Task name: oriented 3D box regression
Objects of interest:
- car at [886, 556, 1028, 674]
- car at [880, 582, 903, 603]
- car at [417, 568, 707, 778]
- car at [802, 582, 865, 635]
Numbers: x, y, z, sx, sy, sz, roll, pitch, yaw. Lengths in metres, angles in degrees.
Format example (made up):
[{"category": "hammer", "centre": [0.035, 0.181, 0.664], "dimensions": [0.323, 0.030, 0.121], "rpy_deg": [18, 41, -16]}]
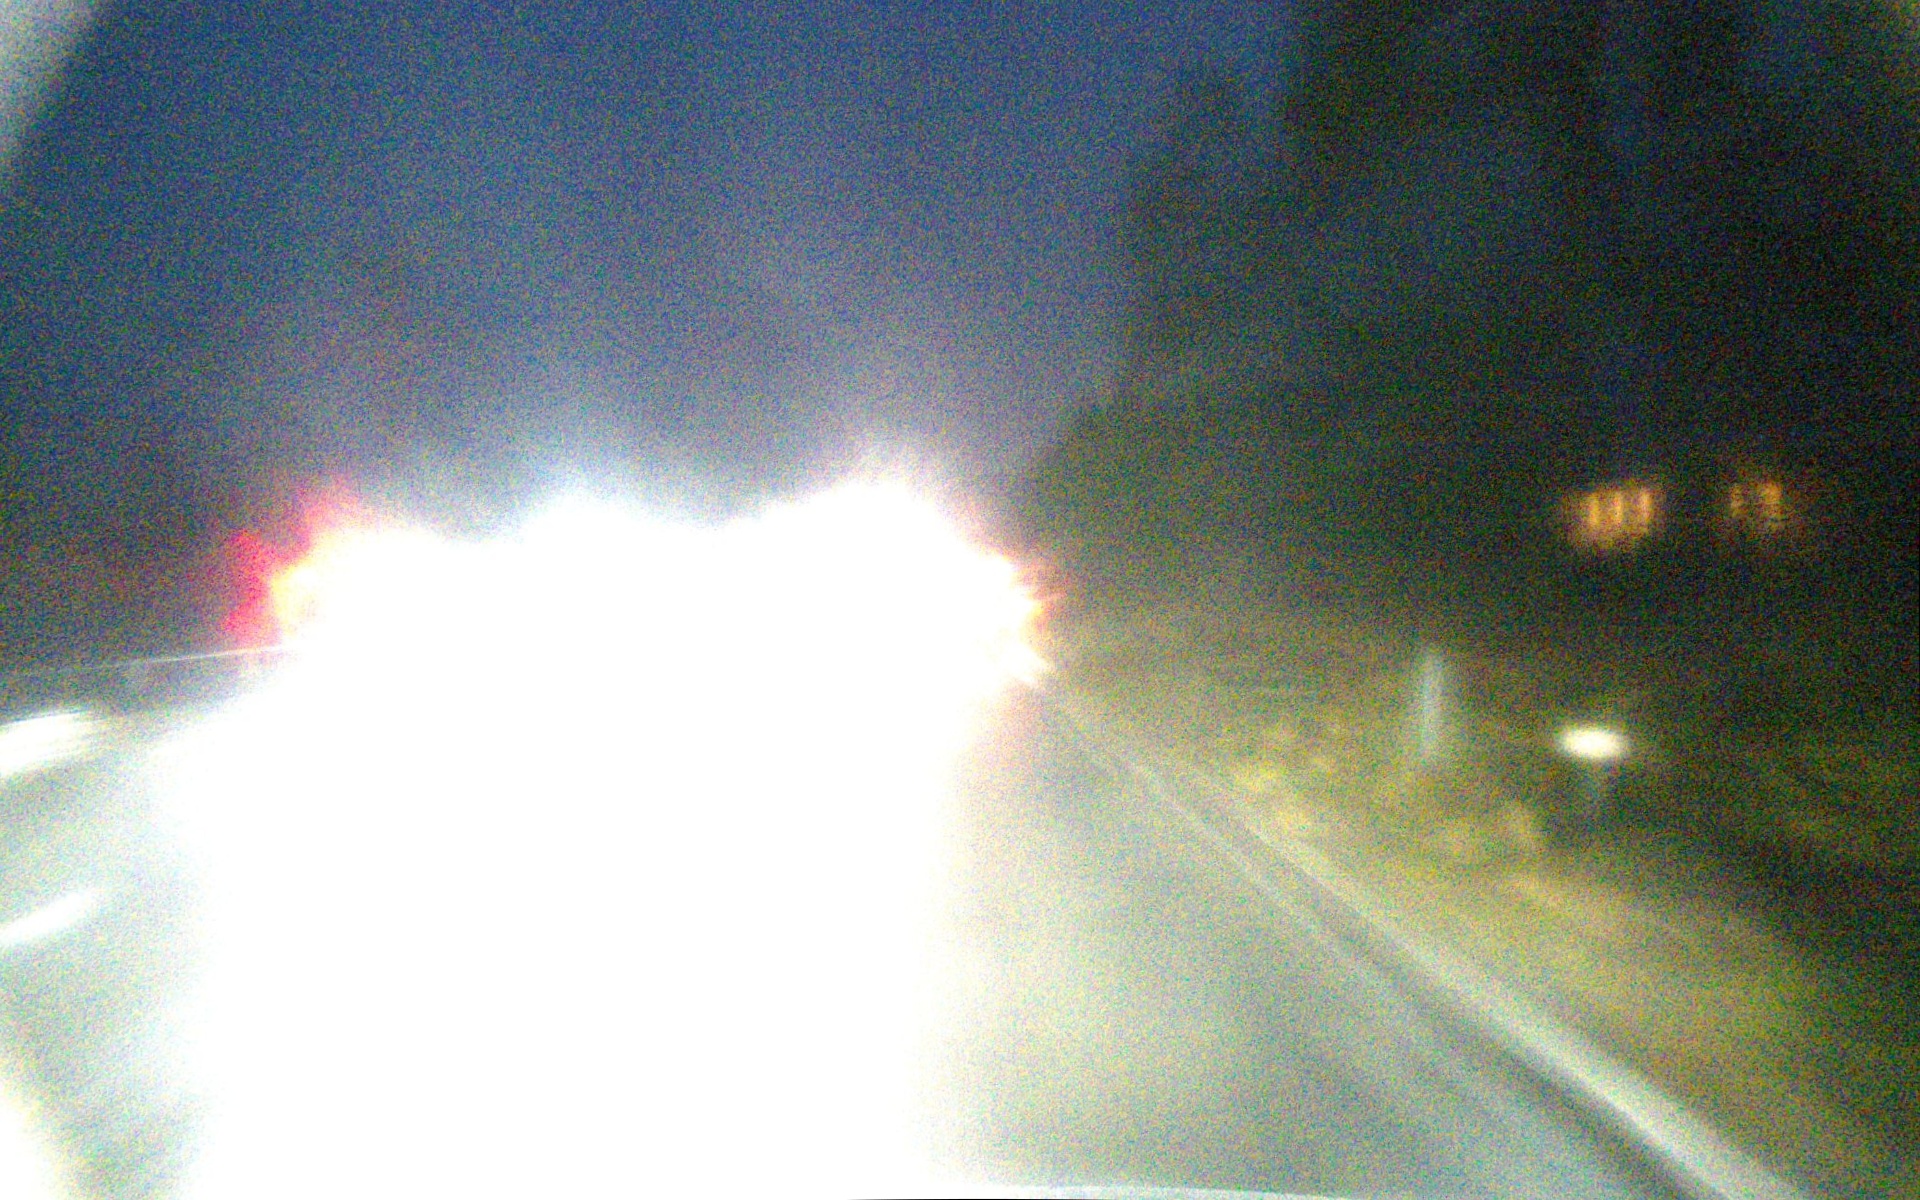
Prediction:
[{"category": "car", "centre": [-0.059, 0.233, 30.562], "dimensions": [2.407, 1.992, 4.911], "rpy_deg": [0, 0, 0]}, {"category": "car", "centre": [-5.364, -0.607, 129.813], "dimensions": [1.759, 1.564, 3.799], "rpy_deg": [-3, 1, -2]}, {"category": "car", "centre": [-3.638, 0.580, 15.926], "dimensions": [1.768, 1.656, 4.405], "rpy_deg": [-2, 1, -2]}, {"category": "car", "centre": [-4.131, 0.239, 54.539], "dimensions": [1.729, 1.546, 4.489], "rpy_deg": [-3, 1, -1]}]
